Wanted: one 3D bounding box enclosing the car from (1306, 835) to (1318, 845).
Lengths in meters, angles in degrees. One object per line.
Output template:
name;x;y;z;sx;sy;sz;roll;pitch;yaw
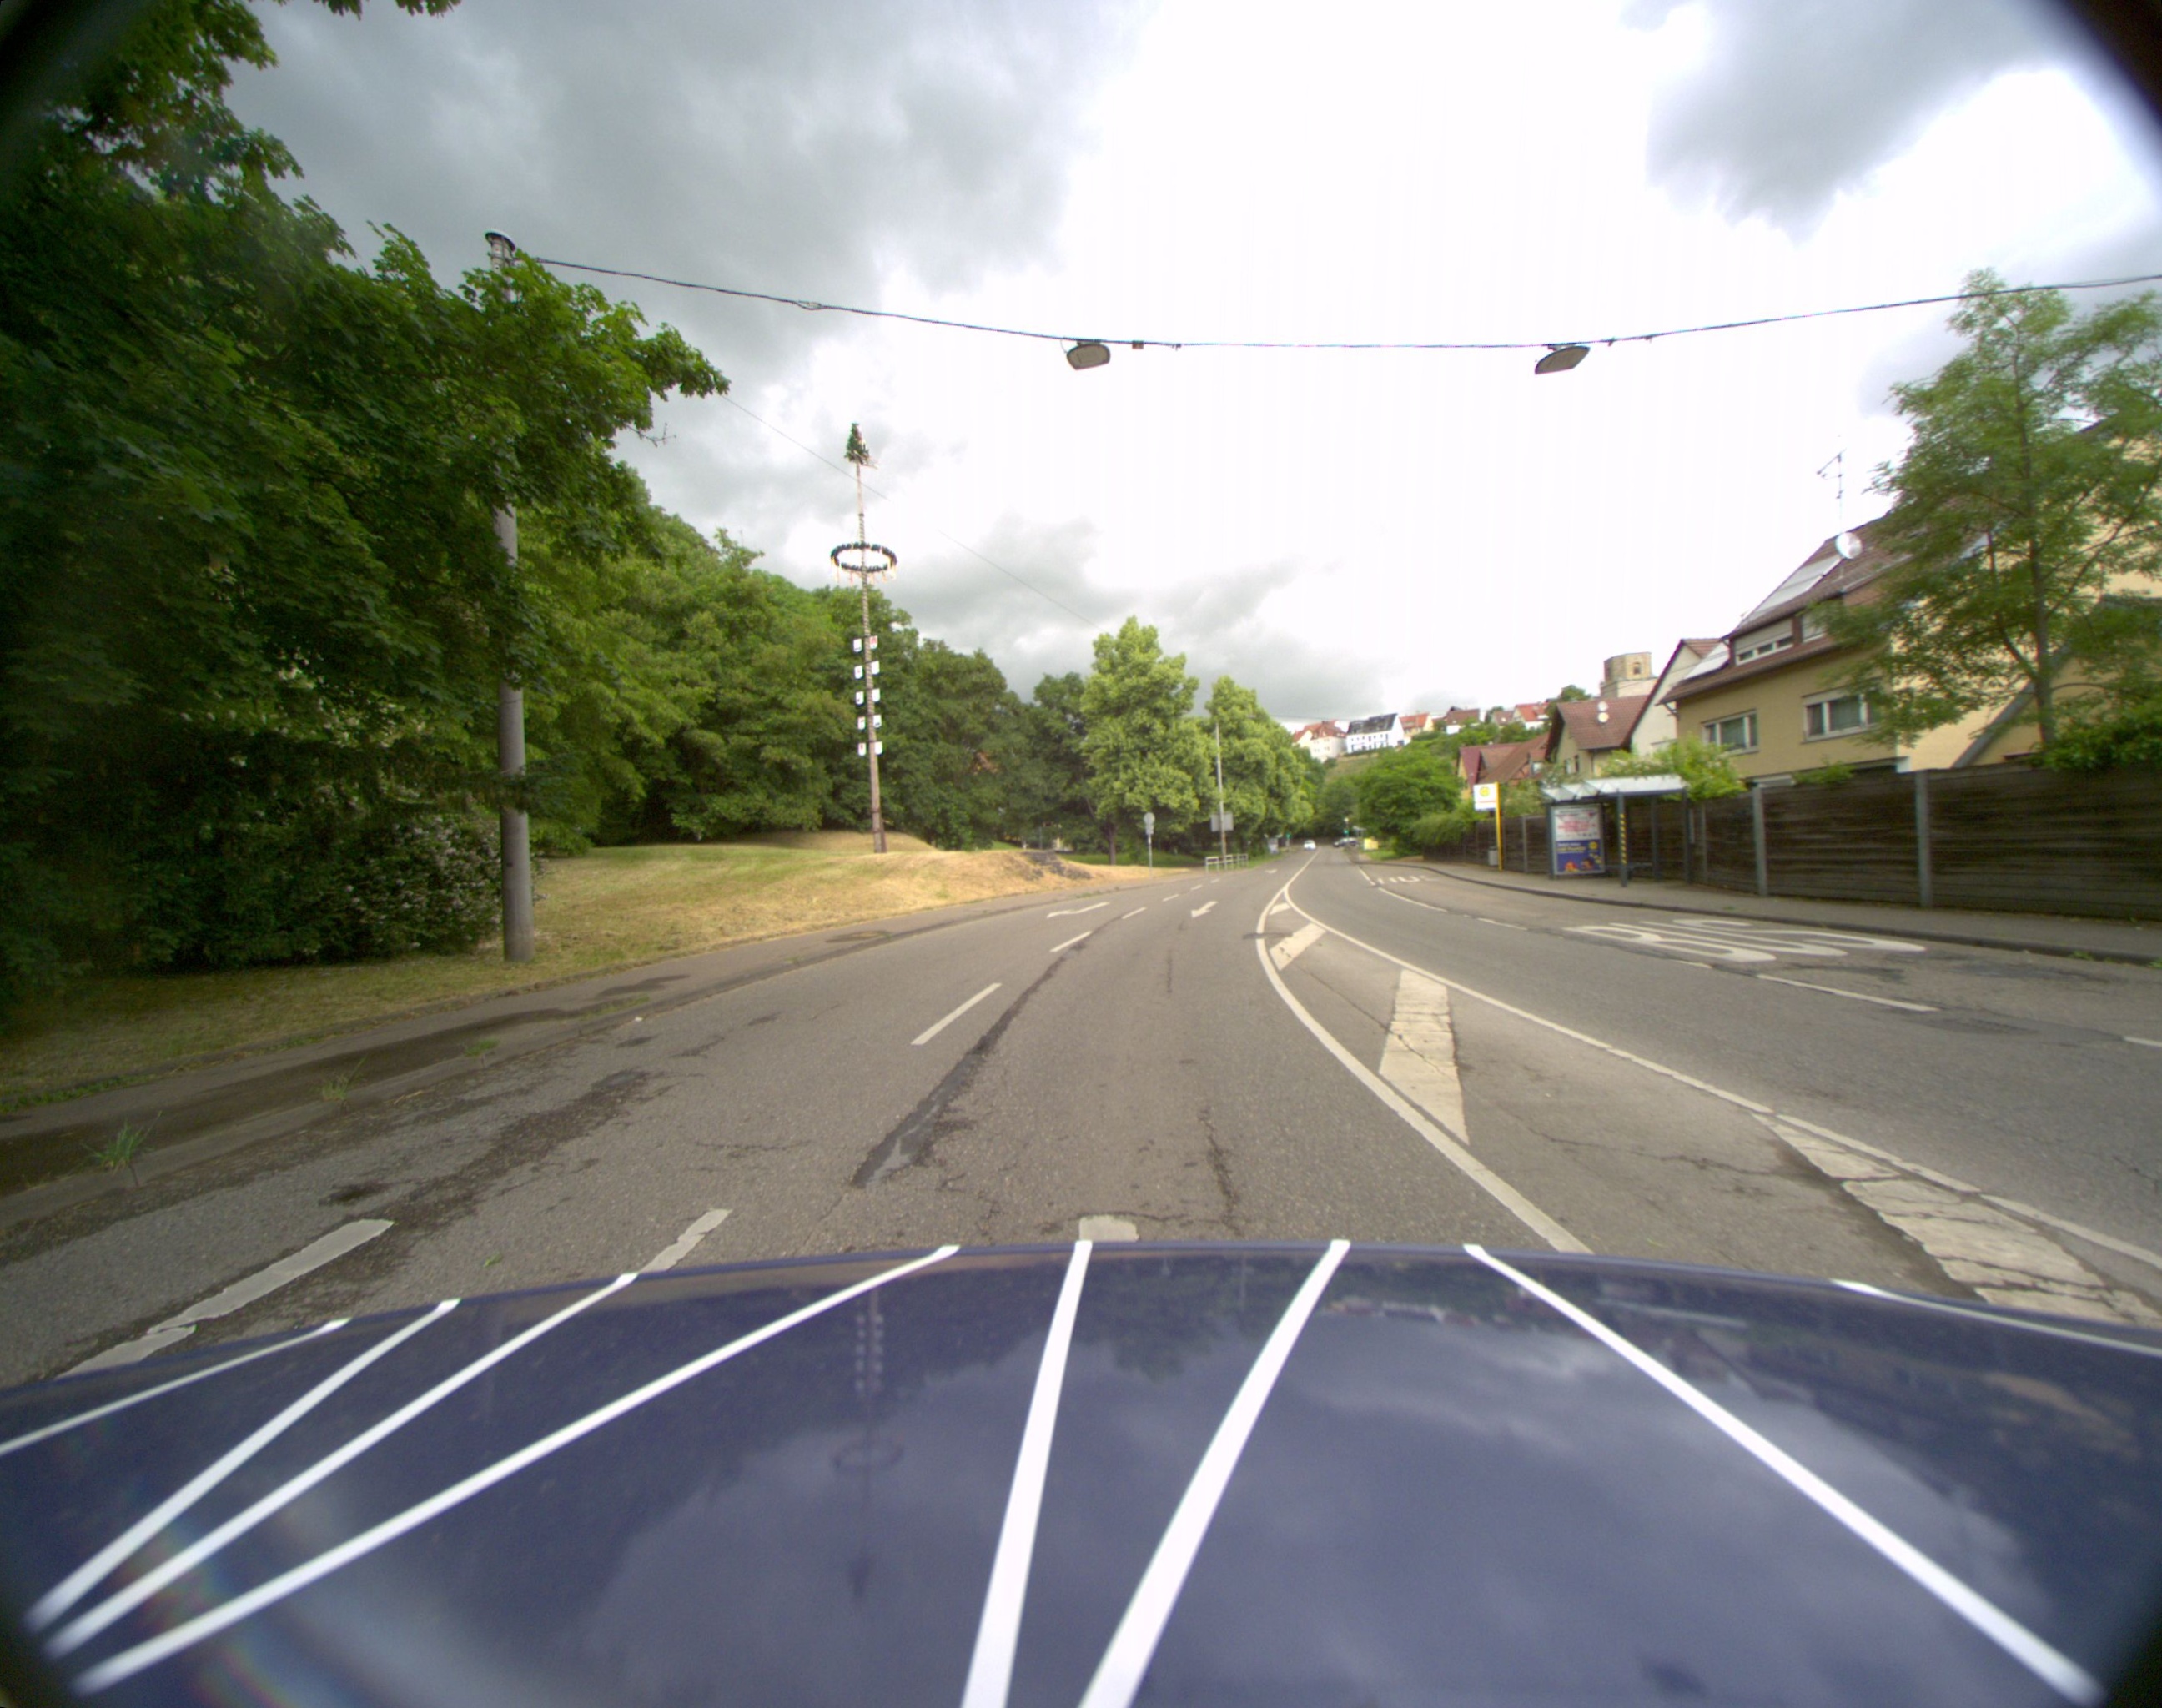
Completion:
car;37.323;-2.227;122.844;1.761;1.516;3.687;-2;1;16
